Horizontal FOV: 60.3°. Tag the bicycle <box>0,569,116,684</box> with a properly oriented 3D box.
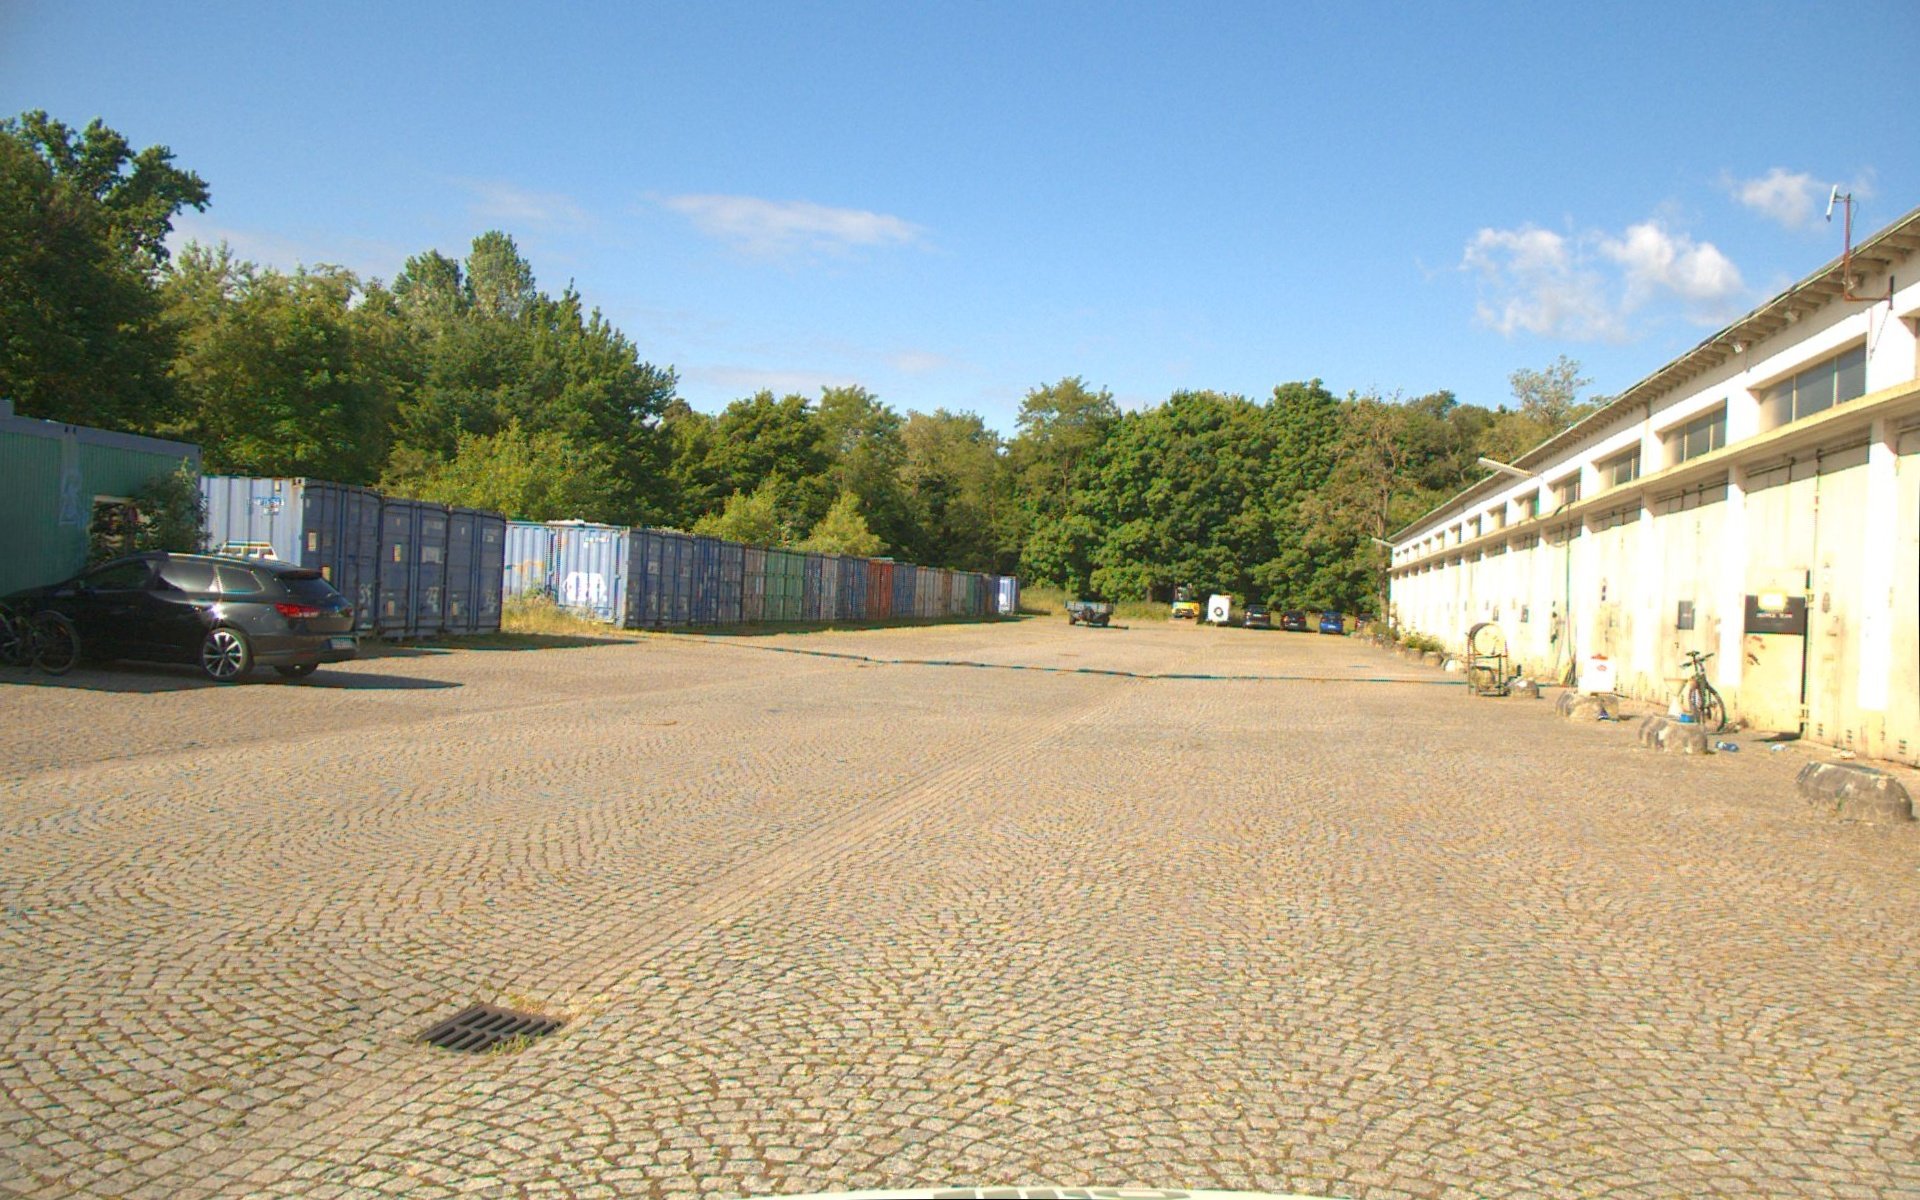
[{"bbox_3d":[-10.563,0.273,18.612,1.765,1.190,0.669,3,0,8],"label":"bicycle"}]

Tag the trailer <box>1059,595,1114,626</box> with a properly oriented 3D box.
[{"bbox_3d":[7.601,0.598,98.471,2.648,1.491,6.253,4,1,9],"label":"trailer"}]

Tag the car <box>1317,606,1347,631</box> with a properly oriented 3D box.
[{"bbox_3d":[25.512,1.255,113.360,1.708,1.461,4.186,4,2,16],"label":"car"}]

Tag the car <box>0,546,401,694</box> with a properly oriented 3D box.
[{"bbox_3d":[-9.302,0.222,20.233,4.161,1.474,1.933,3,0,9],"label":"car"}]

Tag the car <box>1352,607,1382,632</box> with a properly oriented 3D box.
[{"bbox_3d":[28.130,1.326,114.286,1.708,1.461,4.185,4,2,17],"label":"car"}]

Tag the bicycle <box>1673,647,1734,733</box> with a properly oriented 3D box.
[{"bbox_3d":[10.191,1.211,22.701,0.651,1.086,1.823,3,0,22],"label":"bicycle"}]

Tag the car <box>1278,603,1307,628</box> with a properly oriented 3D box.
[{"bbox_3d":[22.870,1.055,113.936,1.824,1.495,4.300,4,2,10],"label":"car"}]

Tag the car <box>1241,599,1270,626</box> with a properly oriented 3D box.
[{"bbox_3d":[20.415,0.860,114.040,1.824,1.616,4.300,4,2,10],"label":"car"}]

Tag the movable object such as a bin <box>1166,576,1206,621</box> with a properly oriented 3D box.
[{"bbox_3d":[16.119,-0.148,117.909,2.257,2.946,5.756,4,2,11],"label":"movable object such as a bin"}]

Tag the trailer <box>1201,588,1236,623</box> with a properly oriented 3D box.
[{"bbox_3d":[18.276,0.357,116.883,2.147,2.130,5.756,4,2,10],"label":"trailer"}]
